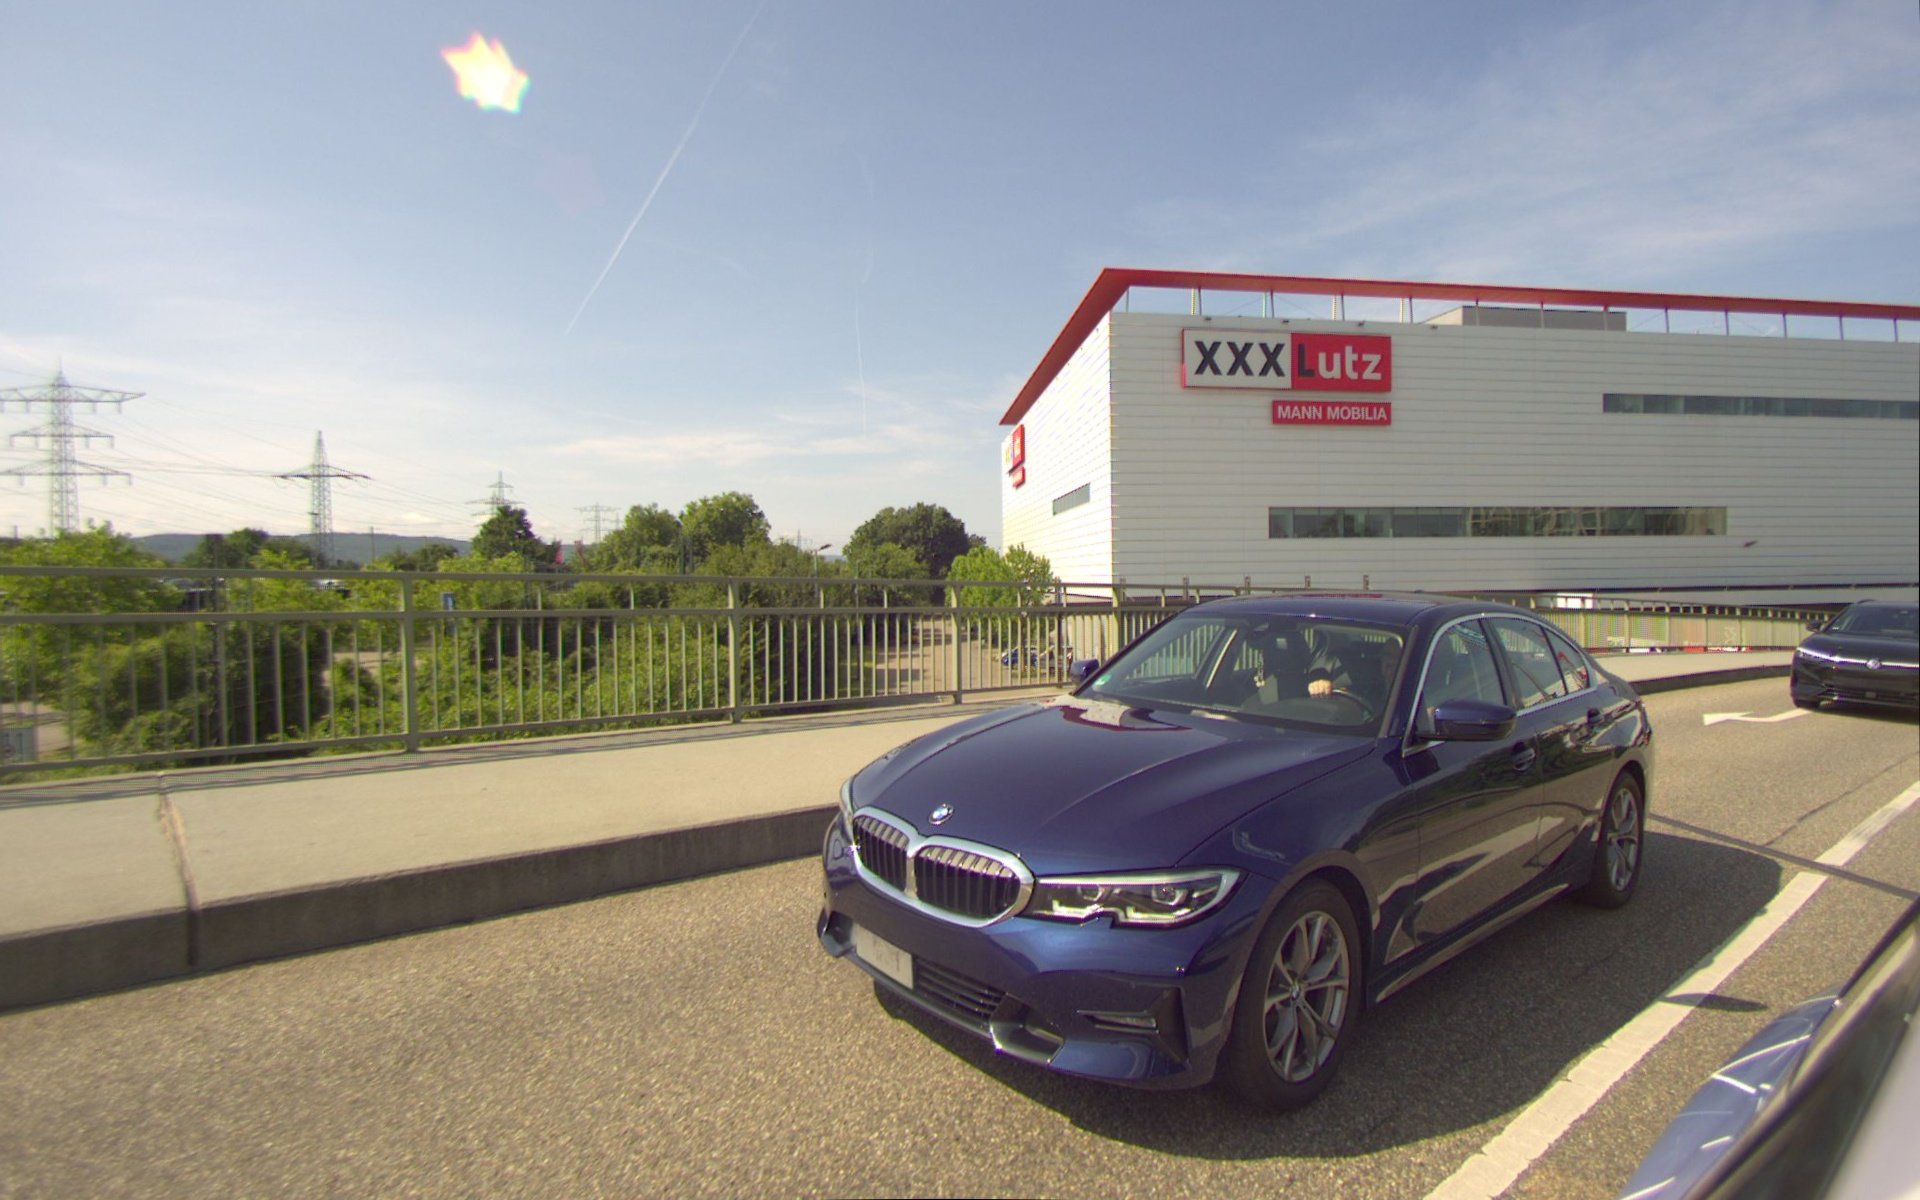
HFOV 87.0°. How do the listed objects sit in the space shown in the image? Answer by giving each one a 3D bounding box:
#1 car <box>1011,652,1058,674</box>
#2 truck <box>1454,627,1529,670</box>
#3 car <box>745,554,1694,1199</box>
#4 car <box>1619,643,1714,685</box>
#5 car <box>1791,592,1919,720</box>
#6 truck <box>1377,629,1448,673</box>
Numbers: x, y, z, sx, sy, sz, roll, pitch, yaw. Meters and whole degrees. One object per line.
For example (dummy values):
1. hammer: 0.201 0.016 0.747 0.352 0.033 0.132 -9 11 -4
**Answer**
1. car: 6.359 5.384 87.019 3.749 1.658 1.809 -1 2 -4
2. truck: 41.714 3.784 79.696 2.089 2.964 6.021 -1 1 -8
3. car: 1.494 0.581 4.424 4.441 1.502 1.791 -2 2 -40
4. car: 52.542 4.690 75.426 2.088 2.653 6.023 -1 1 -11
5. car: 13.195 0.722 13.929 4.067 1.548 1.861 1 0 -38
6. truck: 34.971 3.907 78.450 2.089 2.964 6.021 -1 1 -8
